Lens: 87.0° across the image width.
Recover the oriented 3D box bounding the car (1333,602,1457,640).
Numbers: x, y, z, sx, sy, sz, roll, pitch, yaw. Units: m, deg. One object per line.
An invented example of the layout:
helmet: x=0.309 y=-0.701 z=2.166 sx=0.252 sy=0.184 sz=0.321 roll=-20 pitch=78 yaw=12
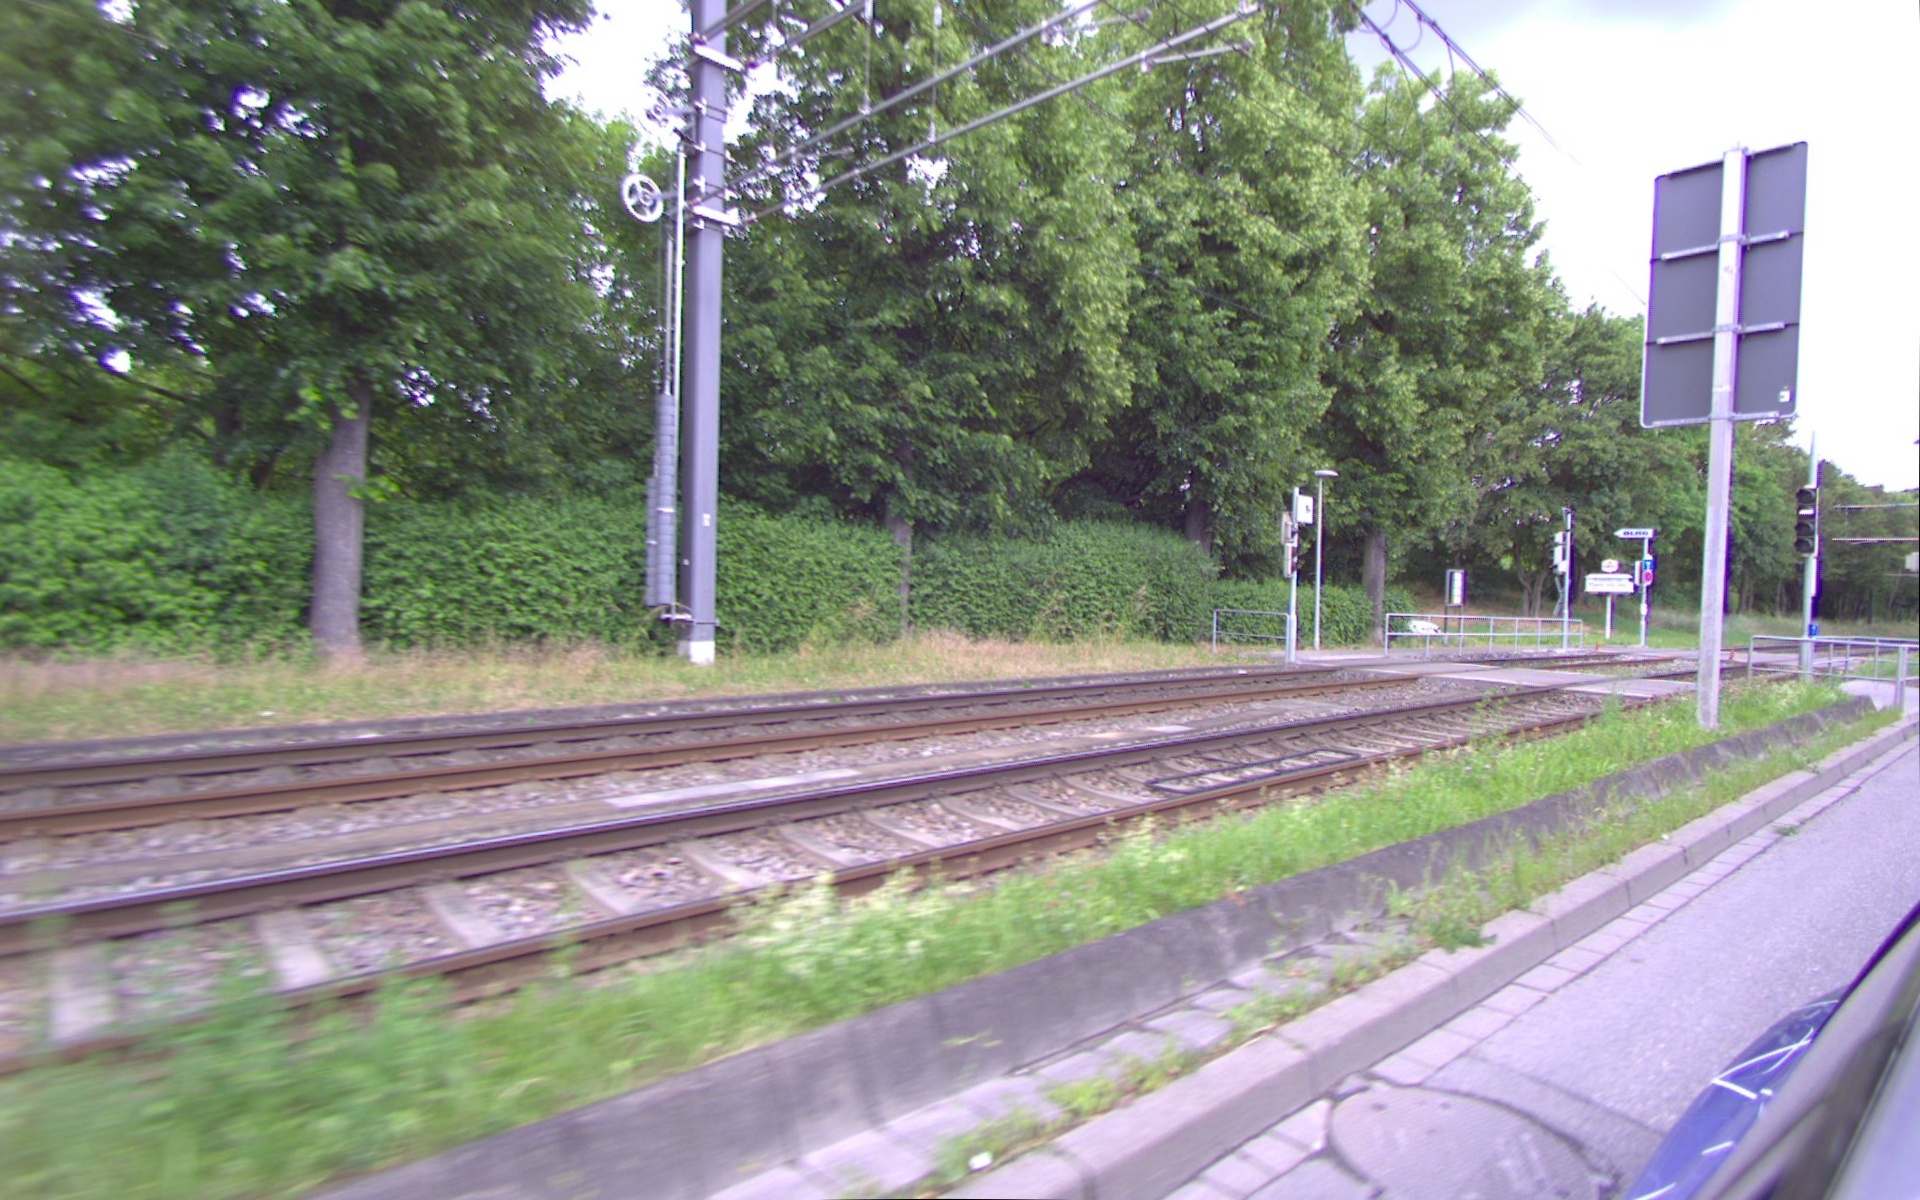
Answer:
car: x=16.620 y=0.805 z=38.805 sx=1.754 sy=1.402 sz=3.992 roll=1 pitch=-2 yaw=-42
